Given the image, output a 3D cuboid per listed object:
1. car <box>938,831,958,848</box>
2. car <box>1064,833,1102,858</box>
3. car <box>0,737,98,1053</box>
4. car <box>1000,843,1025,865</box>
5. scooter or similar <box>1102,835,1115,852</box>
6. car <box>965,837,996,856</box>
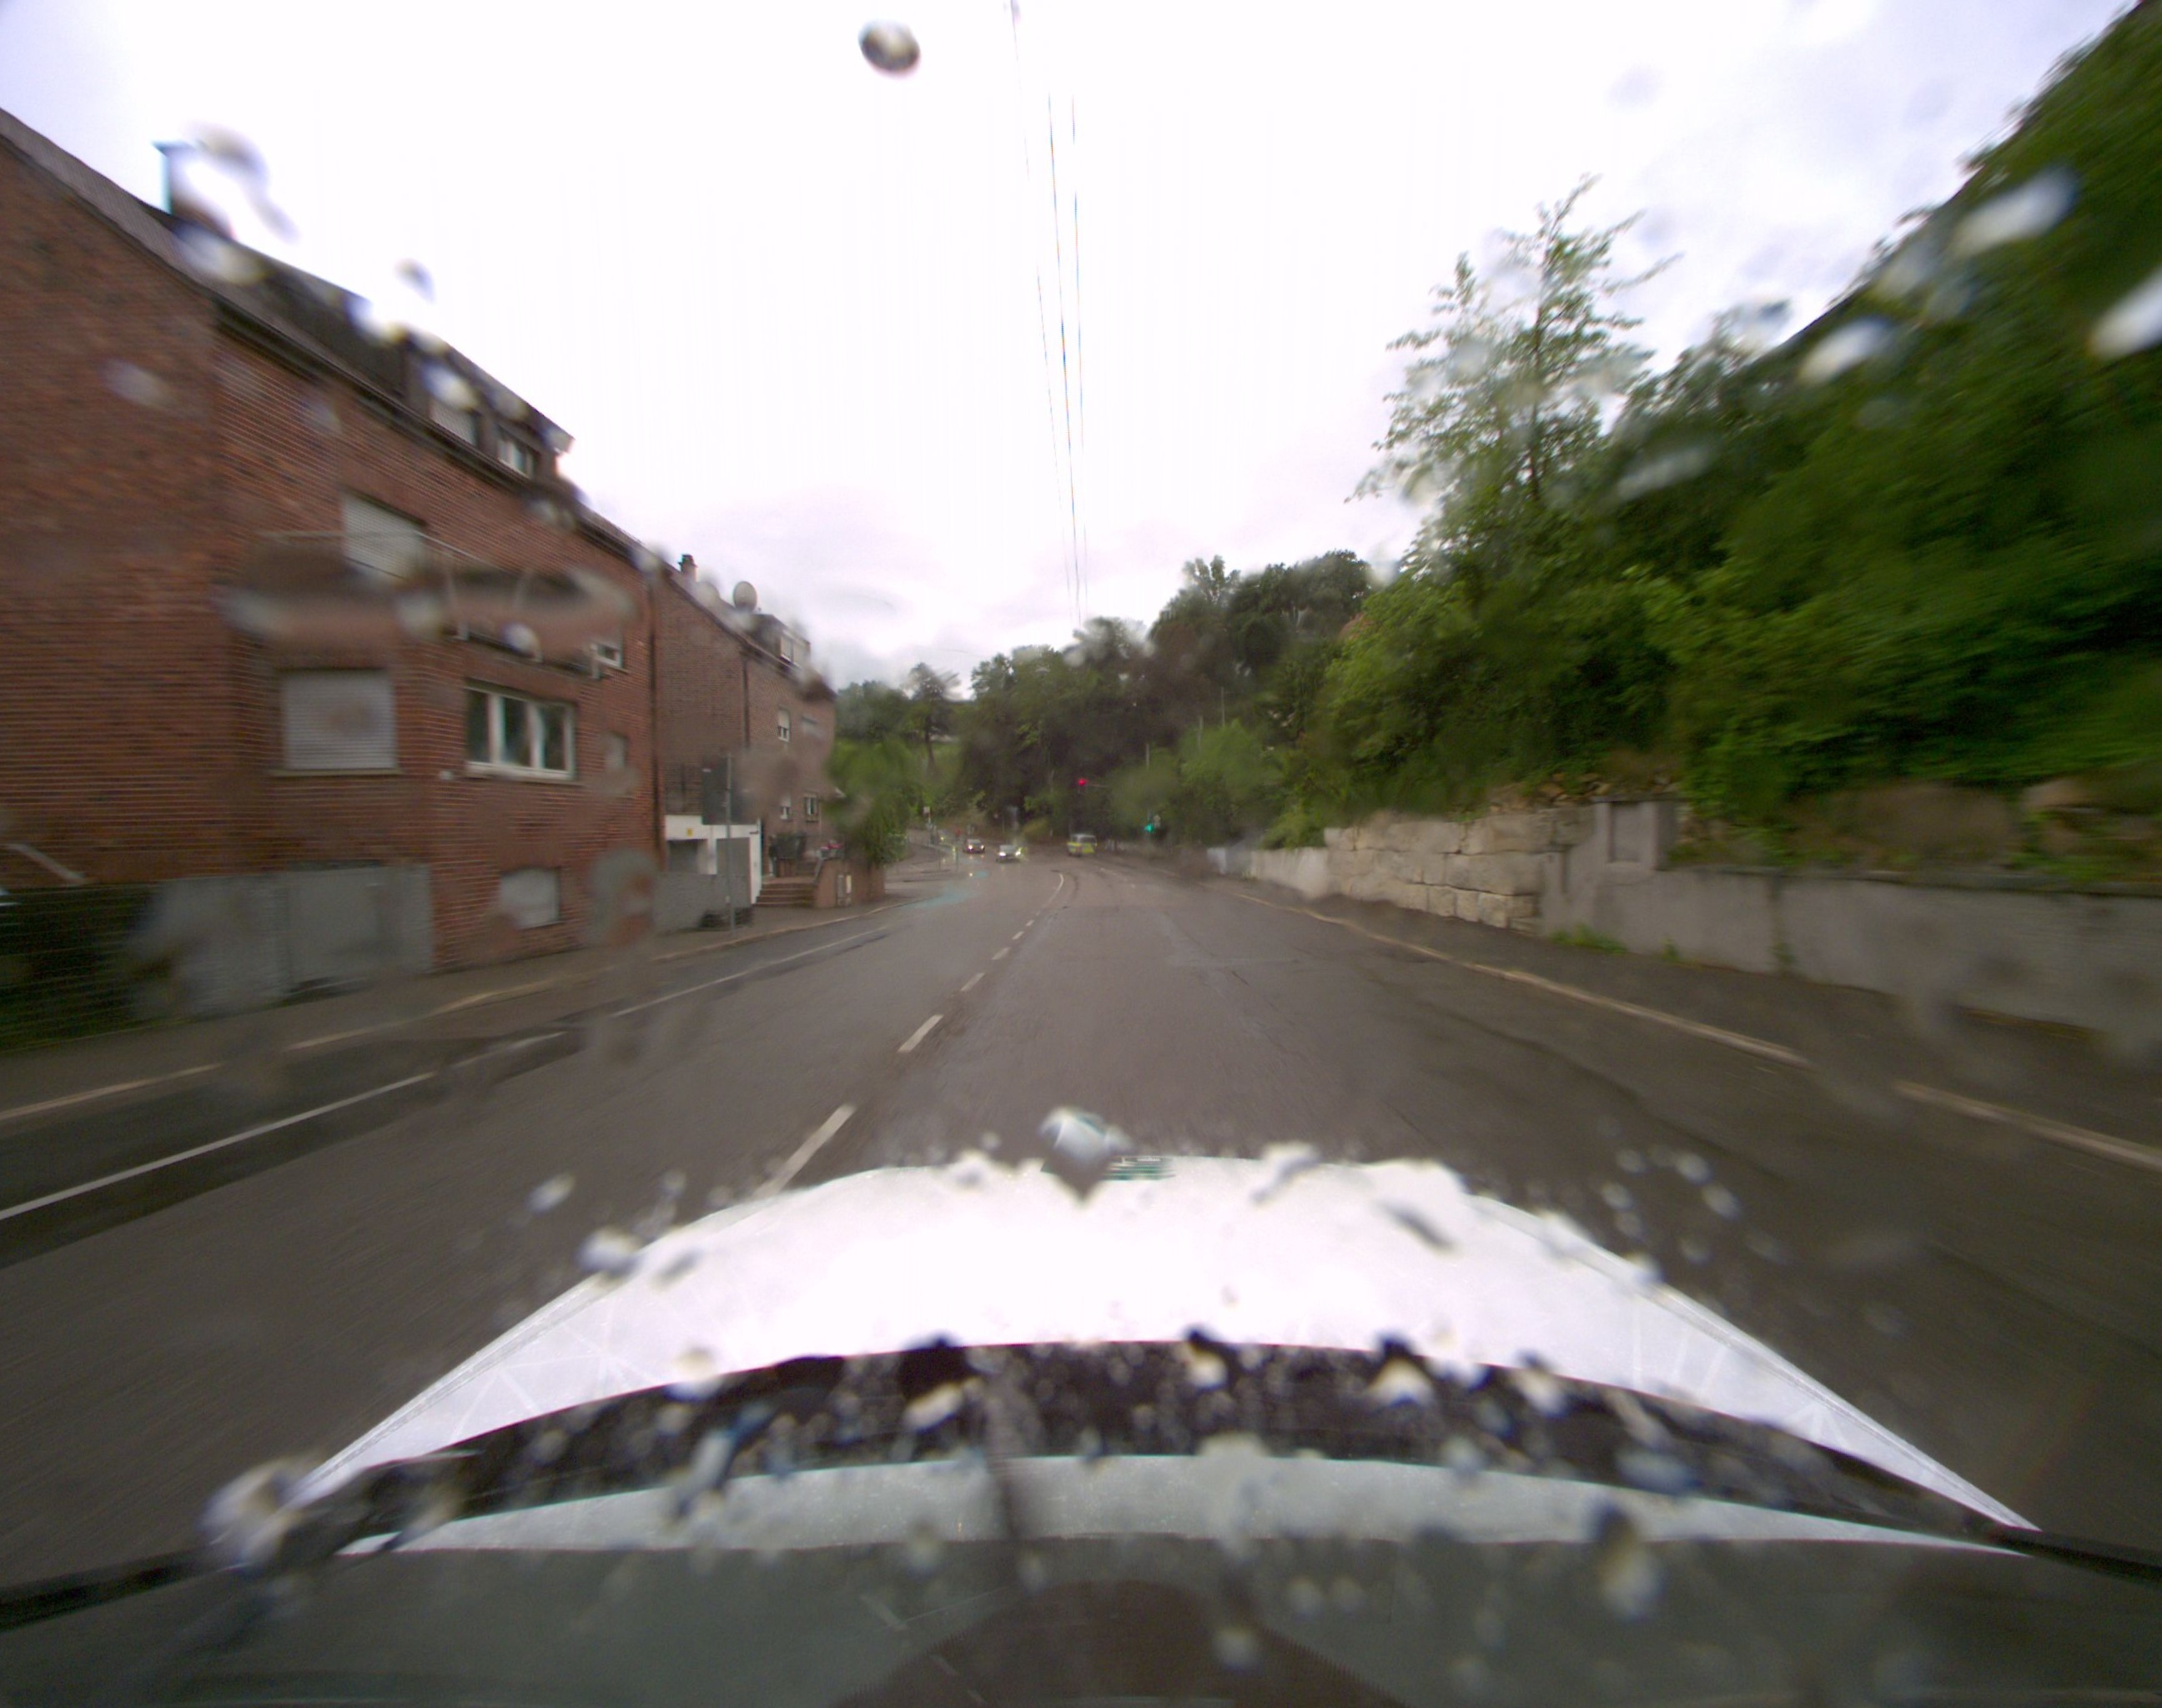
[{"bbox_3d":[-15.754,-1.752,96.520,1.745,1.549,3.981,-5,8,-16],"label":"car"},{"bbox_3d":[0.159,-0.818,72.693,2.312,1.939,4.305,-5,3,-14],"label":"car"},{"bbox_3d":[-12.052,0.372,6.148,6.630,2.554,2.168,-1,-2,1],"label":"car"},{"bbox_3d":[-5.922,-0.051,69.873,1.741,1.549,3.989,-5,4,-9],"label":"car"},{"bbox_3d":[2.628,-1.022,77.558,0.617,1.421,2.150,-4,5,-14],"label":"scooter or similar"},{"bbox_3d":[-10.341,-0.785,84.153,1.729,1.549,4.016,-3,3,13],"label":"car"}]
